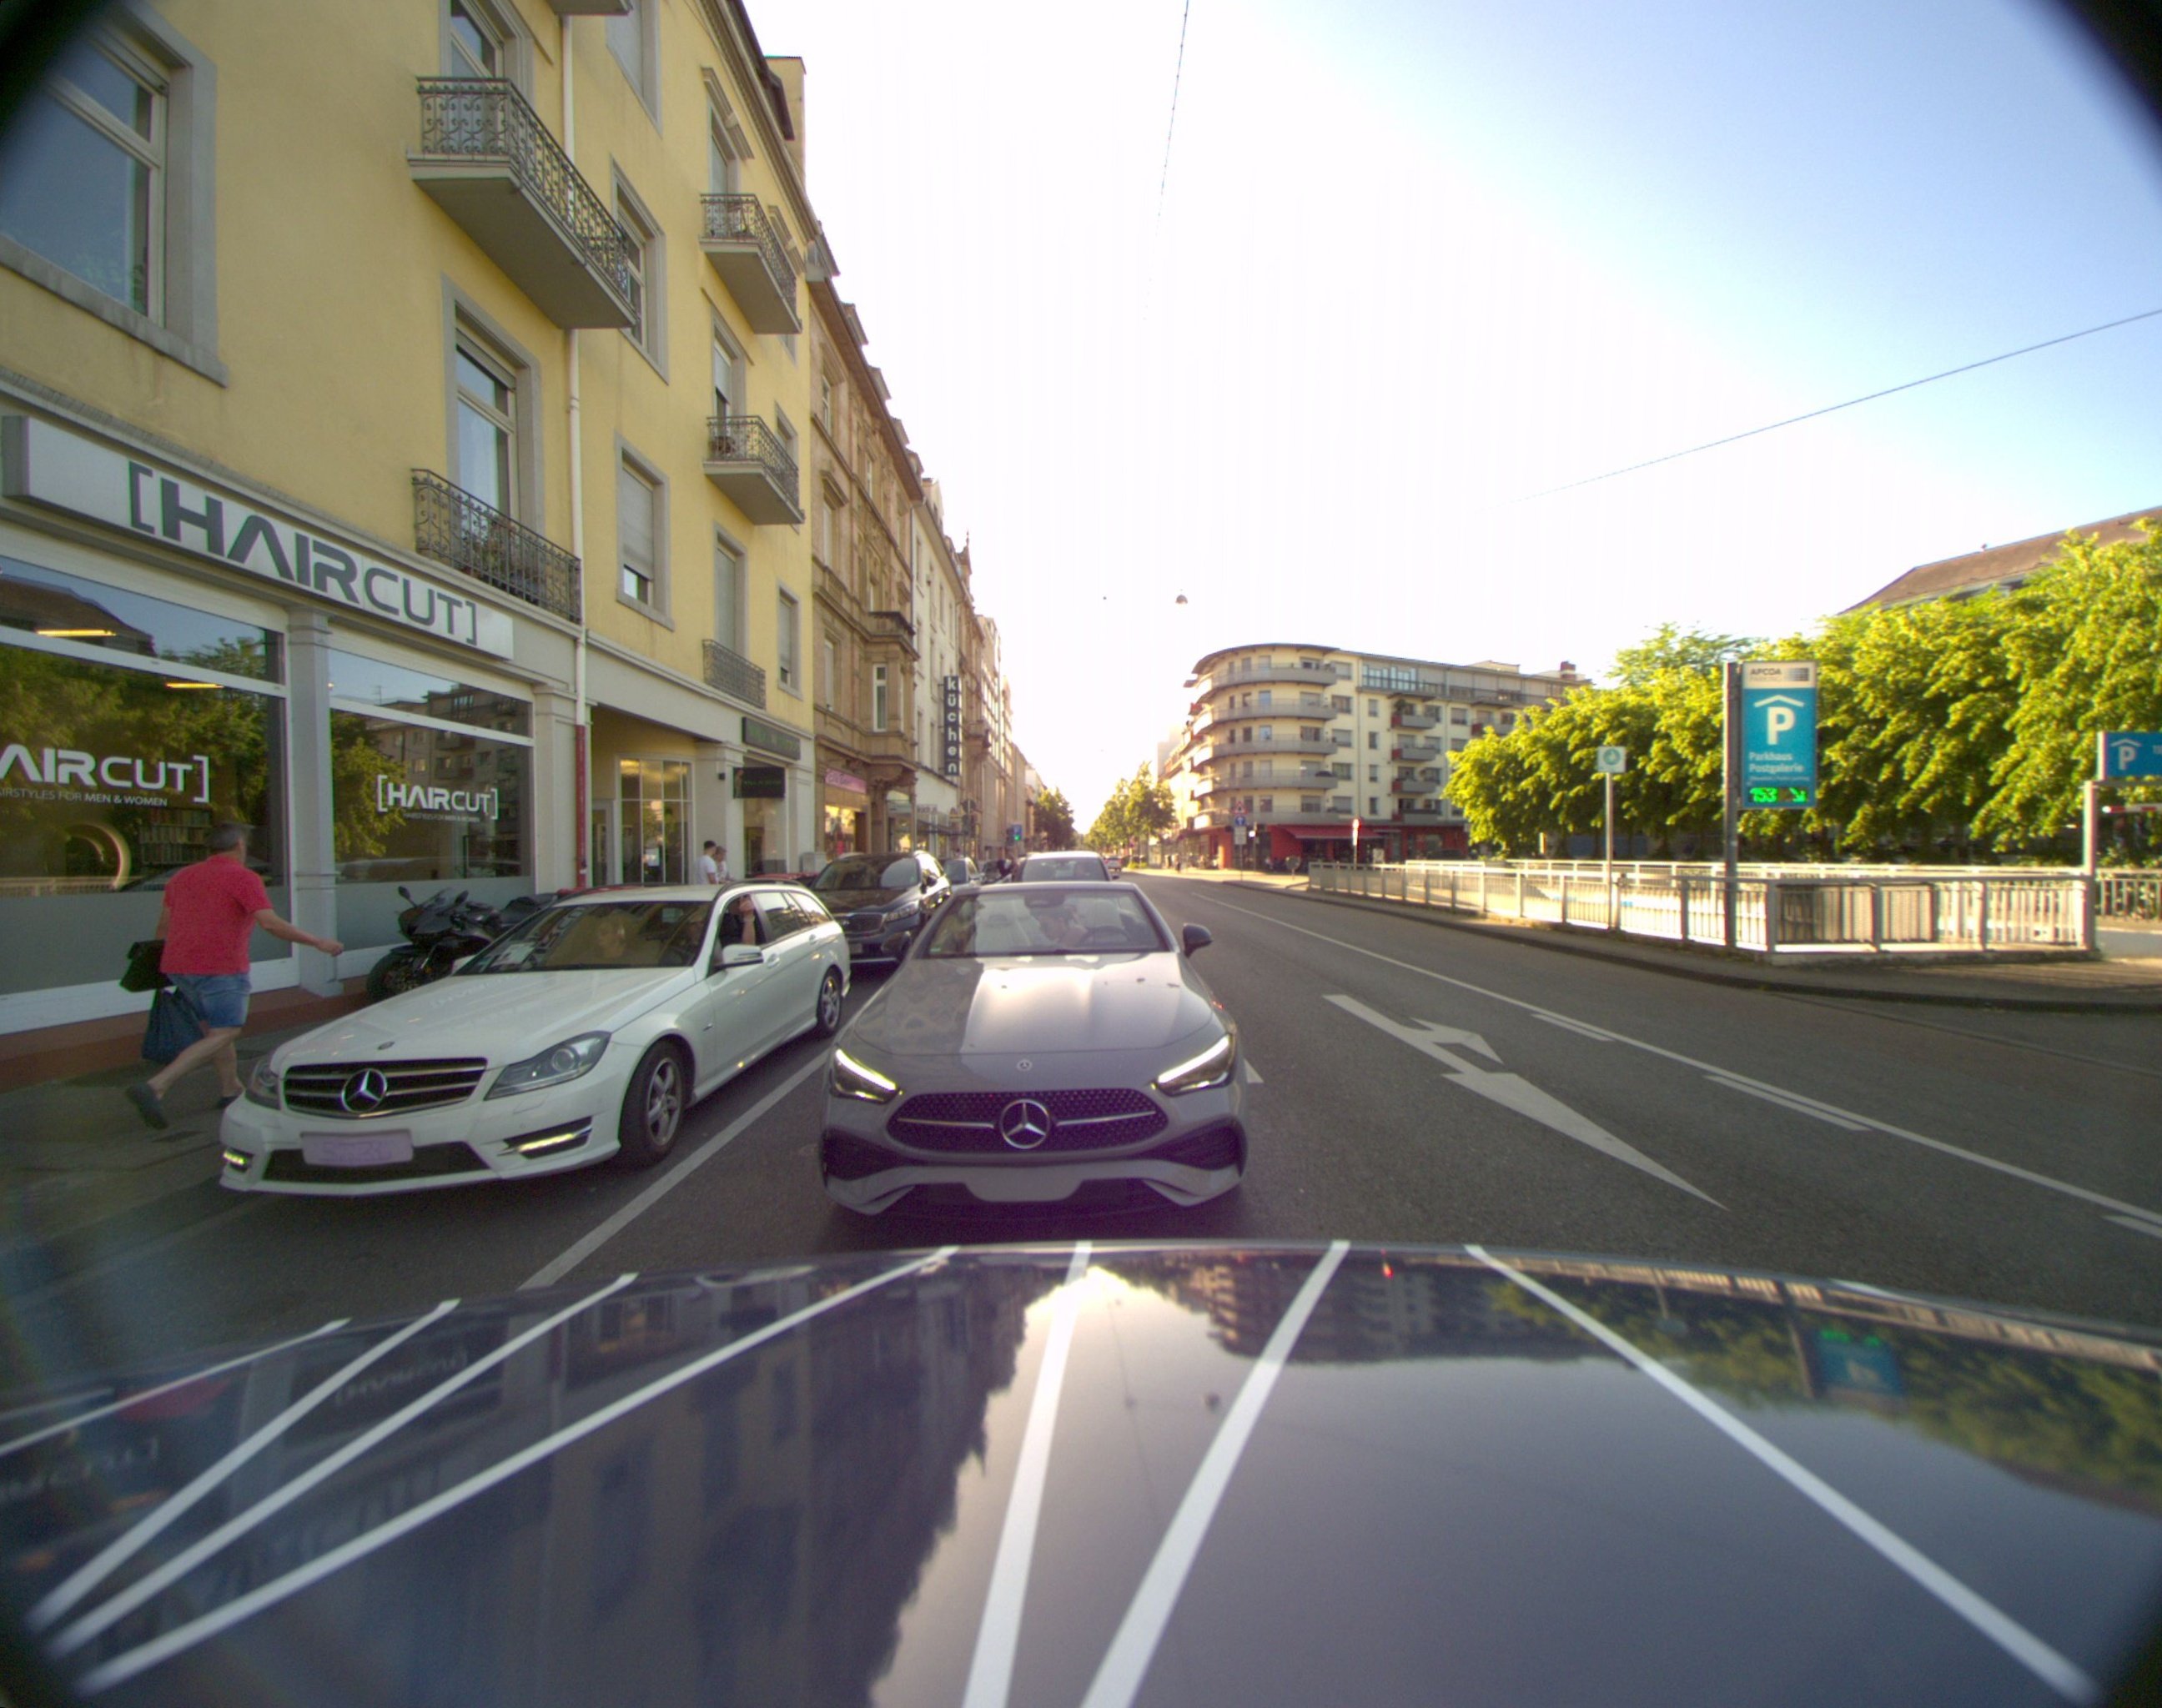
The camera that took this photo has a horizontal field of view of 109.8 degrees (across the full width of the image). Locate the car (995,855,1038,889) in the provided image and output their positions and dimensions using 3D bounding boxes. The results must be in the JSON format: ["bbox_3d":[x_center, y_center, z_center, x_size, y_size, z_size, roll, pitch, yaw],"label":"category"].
[{"bbox_3d":[-3.050,0.810,36.480,1.715,1.477,3.999,-1,0,0],"label":"car"}]

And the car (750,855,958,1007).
[{"bbox_3d":[-3.005,0.892,11.150,1.858,1.688,4.697,-1,0,-4],"label":"car"}]

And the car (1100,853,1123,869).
[{"bbox_3d":[2.886,0.640,73.218,1.803,1.426,4.250,-1,0,-3],"label":"car"}]

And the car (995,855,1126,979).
[{"bbox_3d":[-0.251,0.847,12.176,1.716,1.599,4.000,-1,0,1],"label":"car"}]

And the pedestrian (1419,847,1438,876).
[{"bbox_3d":[21.869,0.480,47.773,0.755,1.795,0.756,-2,1,-15],"label":"pedestrian"}]

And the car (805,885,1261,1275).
[{"bbox_3d":[-0.215,1.025,5.291,1.849,1.371,4.255,-2,0,-1],"label":"car"}]

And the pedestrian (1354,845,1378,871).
[{"bbox_3d":[22.176,0.332,59.155,1.234,2.002,1.259,-2,1,-21],"label":"pedestrian"}]

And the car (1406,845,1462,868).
[{"bbox_3d":[29.034,0.180,62.451,4.004,1.740,1.996,-2,1,-23],"label":"car"}]

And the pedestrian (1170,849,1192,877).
[{"bbox_3d":[7.584,0.676,57.571,1.018,2.002,1.202,-1,2,44],"label":"pedestrian"}]

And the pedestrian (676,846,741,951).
[{"bbox_3d":[-5.876,0.683,12.024,0.642,1.607,0.701,-1,1,-1],"label":"pedestrian"}]

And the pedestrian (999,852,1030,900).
[{"bbox_3d":[-2.361,0.771,27.057,0.691,1.657,0.836,-1,1,31],"label":"pedestrian"}]

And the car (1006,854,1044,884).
[{"bbox_3d":[-2.982,0.760,40.998,1.715,1.477,3.999,-1,0,0],"label":"car"}]

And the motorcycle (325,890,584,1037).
[{"bbox_3d":[-6.261,1.019,7.825,0.773,1.158,2.247,1,0,1],"label":"motorcycle"}]

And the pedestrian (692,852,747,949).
[{"bbox_3d":[-6.166,0.772,12.994,0.572,1.607,0.643,-1,1,2],"label":"pedestrian"}]

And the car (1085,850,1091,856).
[{"bbox_3d":[2.340,-0.289,256.492,1.998,1.805,4.000,-1,0,1],"label":"car"}]

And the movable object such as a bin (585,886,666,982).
[{"bbox_3d":[-6.058,1.049,10.139,0.647,1.200,0.644,-1,1,1],"label":"movable object such as a bin"}]

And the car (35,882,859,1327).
[{"bbox_3d":[-3.070,1.040,5.190,1.759,1.453,4.597,-1,0,0],"label":"car"}]

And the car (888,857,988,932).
[{"bbox_3d":[-3.282,0.884,17.996,1.696,1.559,3.018,-1,0,1],"label":"car"}]

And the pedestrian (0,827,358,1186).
[{"bbox_3d":[-5.058,0.756,4.342,0.865,1.774,1.009,2,1,9],"label":"pedestrian"}]

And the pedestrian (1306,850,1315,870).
[{"bbox_3d":[17.950,0.465,59.499,0.581,1.481,0.793,-1,1,13],"label":"pedestrian"}]

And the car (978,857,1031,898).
[{"bbox_3d":[-3.015,0.885,30.727,1.715,1.477,3.999,-1,0,0],"label":"car"}]

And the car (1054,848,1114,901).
[{"bbox_3d":[0.125,0.670,27.225,1.952,1.742,4.000,-1,0,1],"label":"car"}]

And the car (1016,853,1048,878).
[{"bbox_3d":[-3.024,0.689,47.592,1.715,1.477,4.062,-1,0,0],"label":"car"}]

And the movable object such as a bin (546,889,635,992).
[{"bbox_3d":[-6.108,1.058,9.487,0.647,1.200,0.644,-1,1,1],"label":"movable object such as a bin"}]

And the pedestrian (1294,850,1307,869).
[{"bbox_3d":[17.690,0.443,61.153,0.583,1.453,0.790,-2,1,-37],"label":"pedestrian"}]

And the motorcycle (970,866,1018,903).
[{"bbox_3d":[-3.057,1.045,26.787,0.769,1.225,1.546,-1,1,42],"label":"motorcycle"}]

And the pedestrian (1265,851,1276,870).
[{"bbox_3d":[15.053,0.503,60.270,0.791,1.452,0.583,-1,1,10],"label":"pedestrian"}]

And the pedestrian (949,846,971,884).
[{"bbox_3d":[-5.239,0.453,33.003,0.795,1.607,0.763,-1,1,-1],"label":"pedestrian"}]

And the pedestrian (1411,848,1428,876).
[{"bbox_3d":[21.211,0.497,47.579,0.674,1.696,0.699,-2,1,-7],"label":"pedestrian"}]
